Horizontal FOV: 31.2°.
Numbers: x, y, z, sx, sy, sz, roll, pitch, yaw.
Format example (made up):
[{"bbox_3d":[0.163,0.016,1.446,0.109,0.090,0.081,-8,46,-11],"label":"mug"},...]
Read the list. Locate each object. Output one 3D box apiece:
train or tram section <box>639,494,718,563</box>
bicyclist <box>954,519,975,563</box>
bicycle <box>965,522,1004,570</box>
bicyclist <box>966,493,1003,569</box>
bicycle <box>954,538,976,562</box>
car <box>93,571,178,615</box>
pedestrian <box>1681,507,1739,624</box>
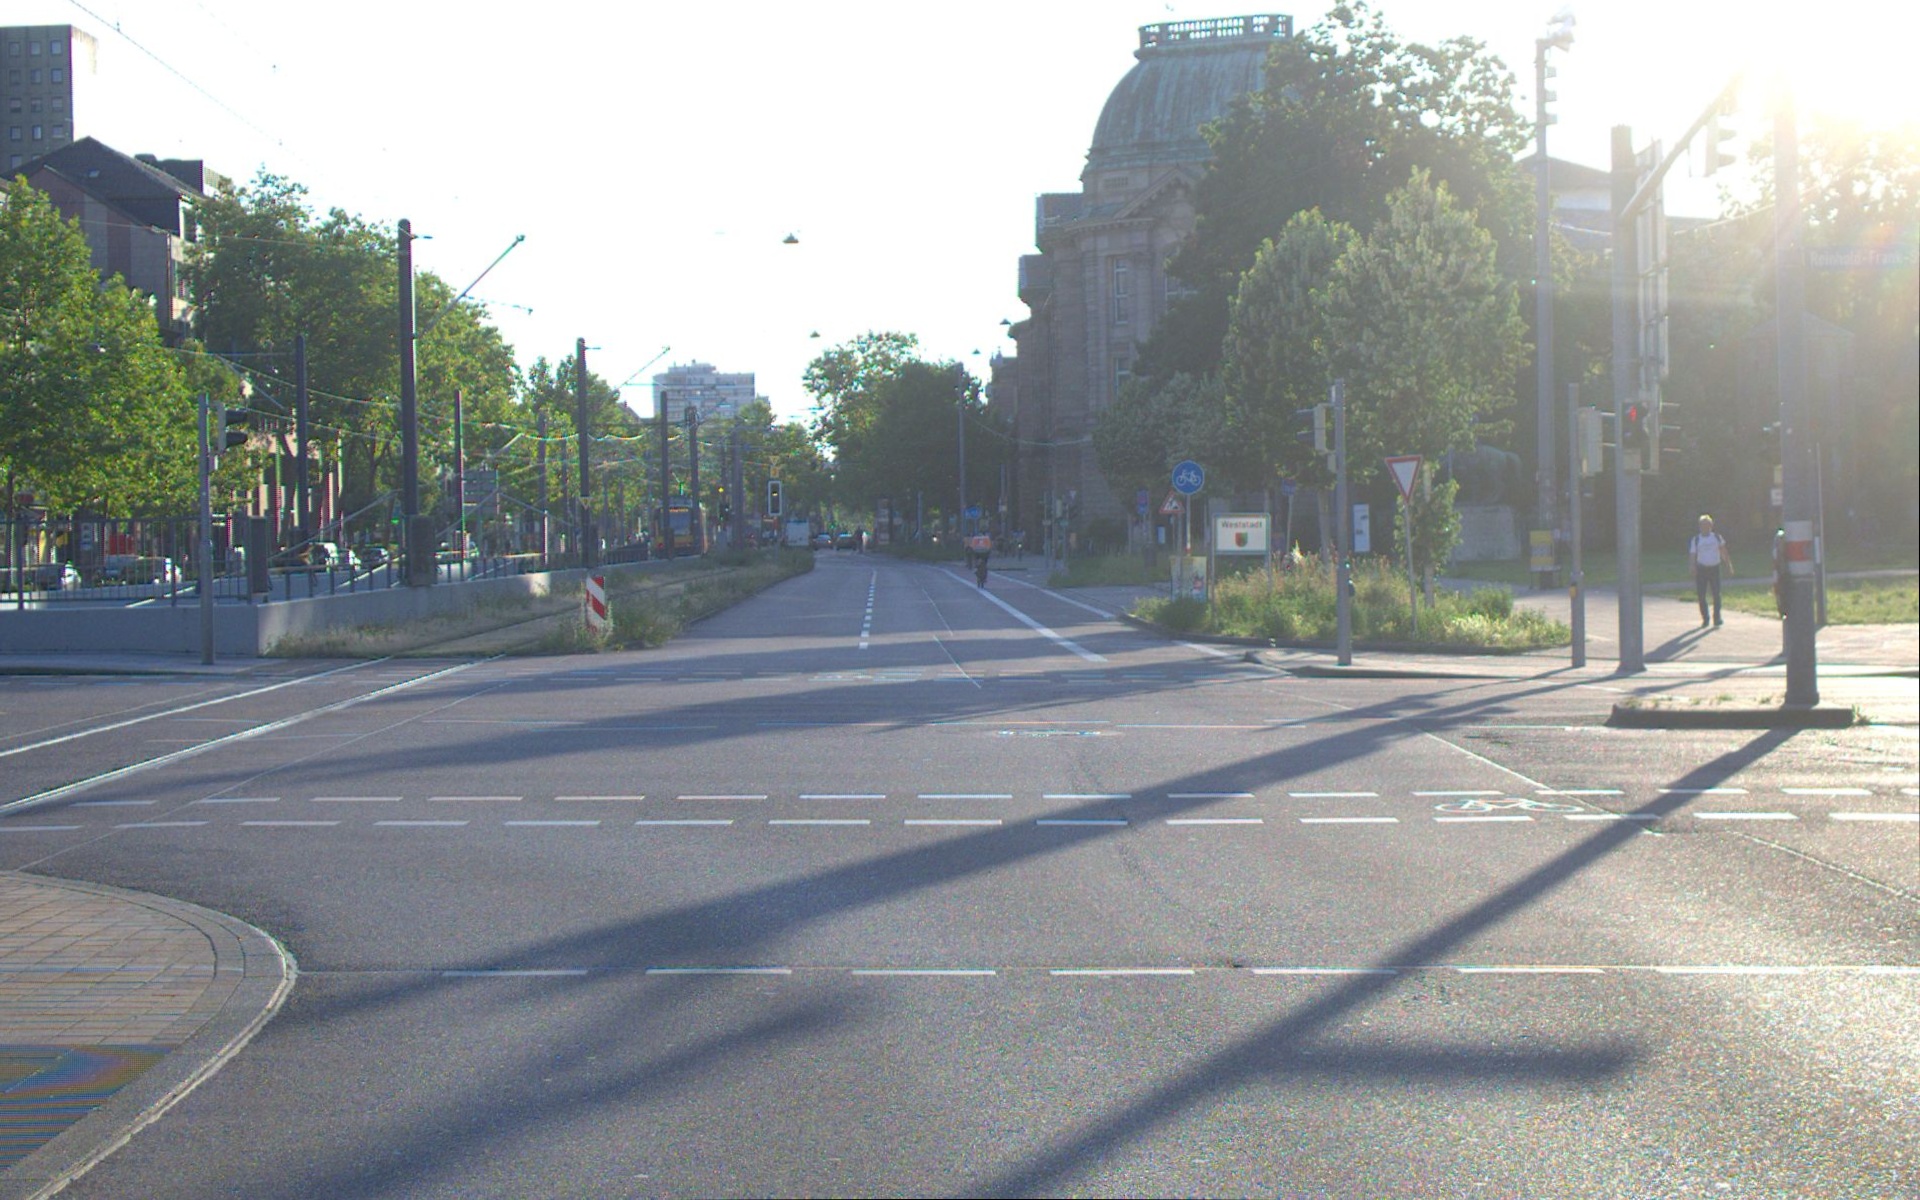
[{"bbox_3d":[-16.344,-4.157,199.714,4.385,3.837,11.412,-1,1,-5],"label":"train or tram section"},{"bbox_3d":[0.216,-2.712,157.563,0.925,2.007,0.850,-1,1,-1],"label":"bicyclist"},{"bbox_3d":[0.724,-1.624,103.381,1.098,1.394,2.832,-1,1,-1],"label":"bicycle"},{"bbox_3d":[0.725,-2.075,103.474,1.082,2.268,0.986,0,1,-1],"label":"bicyclist"},{"bbox_3d":[0.227,-2.292,157.561,0.924,1.108,2.333,-1,1,-1],"label":"bicycle"},{"bbox_3d":[-28.975,-0.252,120.891,1.819,1.415,4.000,-1,1,3],"label":"car"},{"bbox_3d":[11.727,-0.541,53.732,0.833,1.797,0.810,-1,1,15],"label":"pedestrian"}]
